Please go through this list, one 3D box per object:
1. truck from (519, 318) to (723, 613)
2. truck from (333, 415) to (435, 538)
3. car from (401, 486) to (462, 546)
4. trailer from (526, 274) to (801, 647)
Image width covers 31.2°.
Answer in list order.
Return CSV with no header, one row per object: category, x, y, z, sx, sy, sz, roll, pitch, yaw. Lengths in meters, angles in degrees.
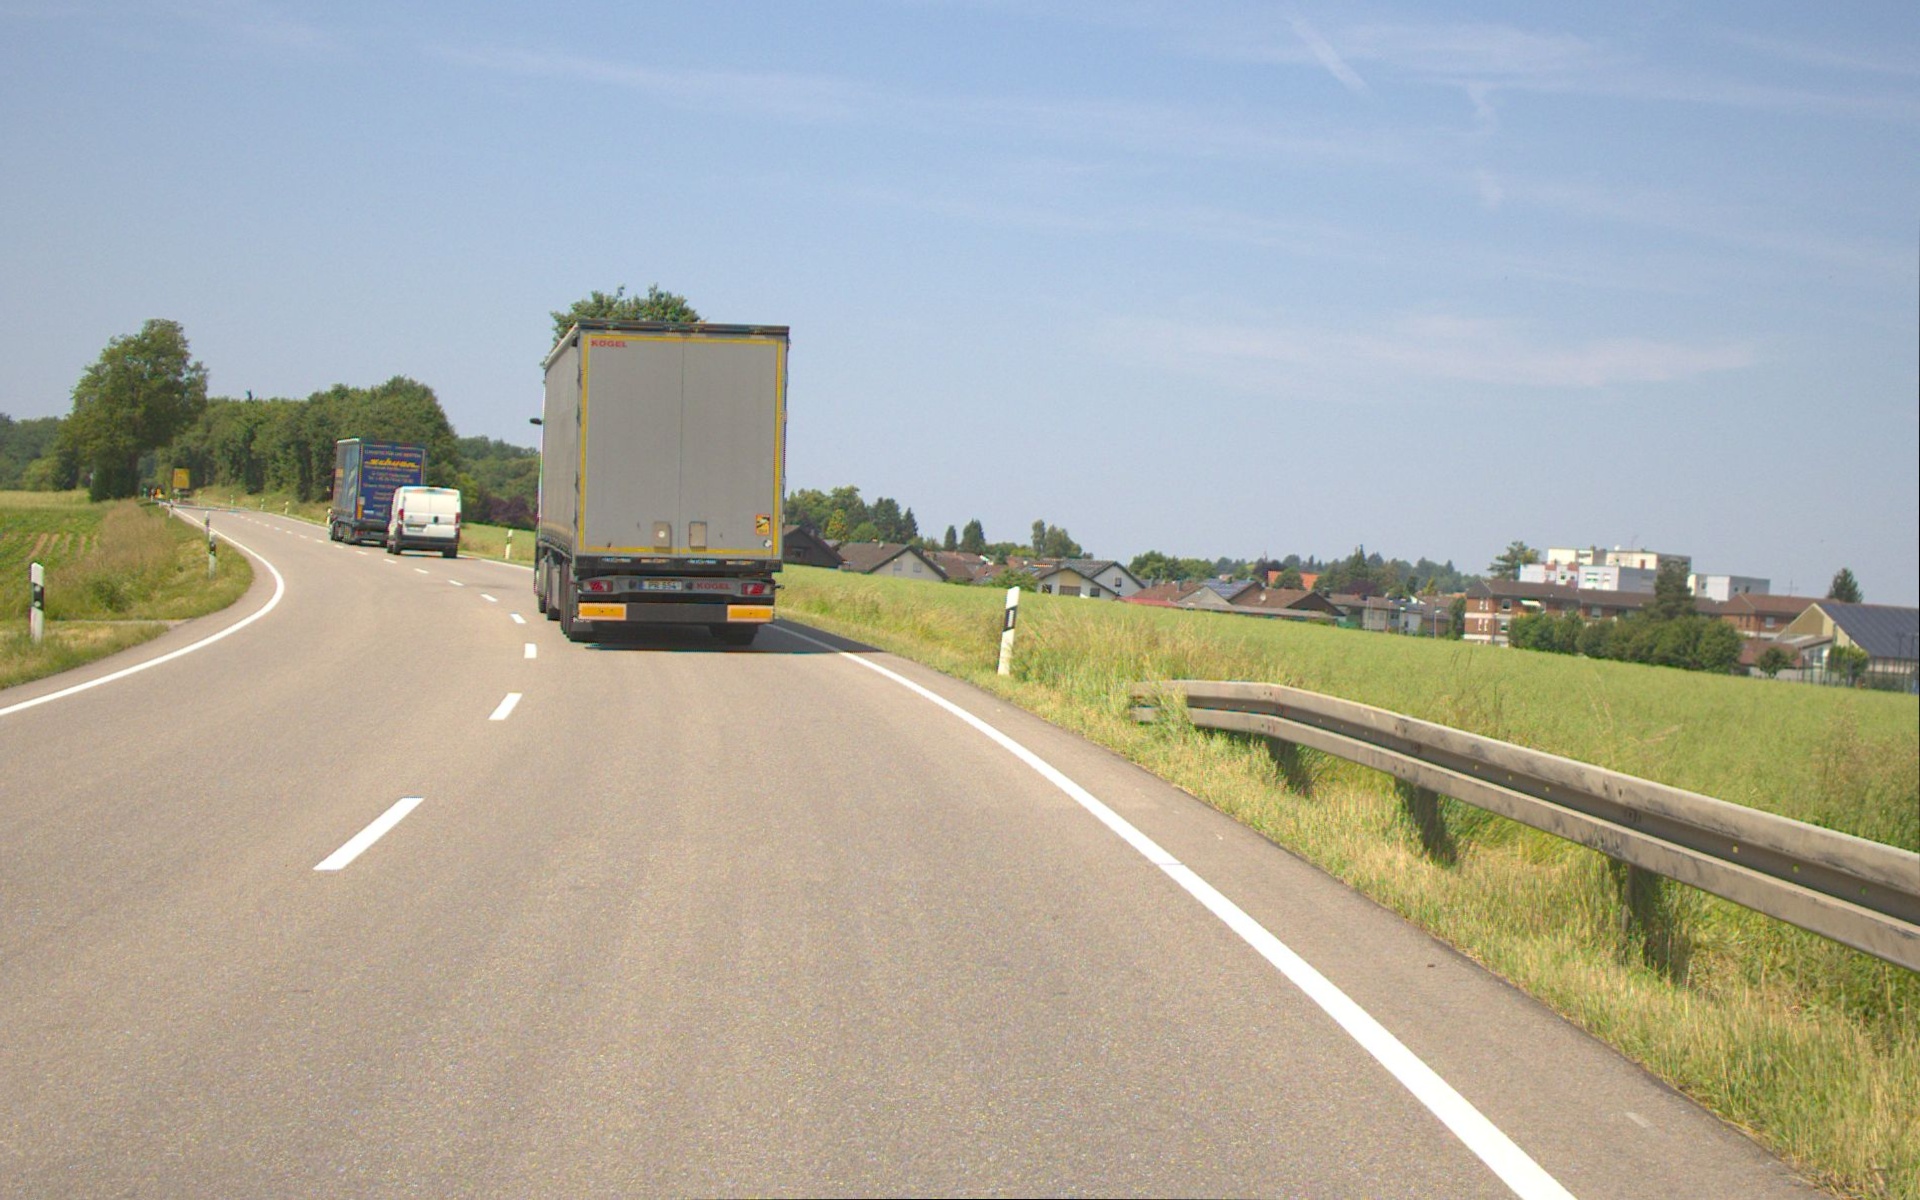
truck,-5.462,-2.098,54.715,2.858,4.385,5.073,1,1,-9
truck,-22.824,-4.833,136.393,3.548,4.377,18.127,3,1,-9
car,-17.204,-2.726,112.025,1.725,1.866,4.001,2,1,-6
trailer,-4.385,-1.873,47.818,2.866,4.385,13.497,1,2,-9
